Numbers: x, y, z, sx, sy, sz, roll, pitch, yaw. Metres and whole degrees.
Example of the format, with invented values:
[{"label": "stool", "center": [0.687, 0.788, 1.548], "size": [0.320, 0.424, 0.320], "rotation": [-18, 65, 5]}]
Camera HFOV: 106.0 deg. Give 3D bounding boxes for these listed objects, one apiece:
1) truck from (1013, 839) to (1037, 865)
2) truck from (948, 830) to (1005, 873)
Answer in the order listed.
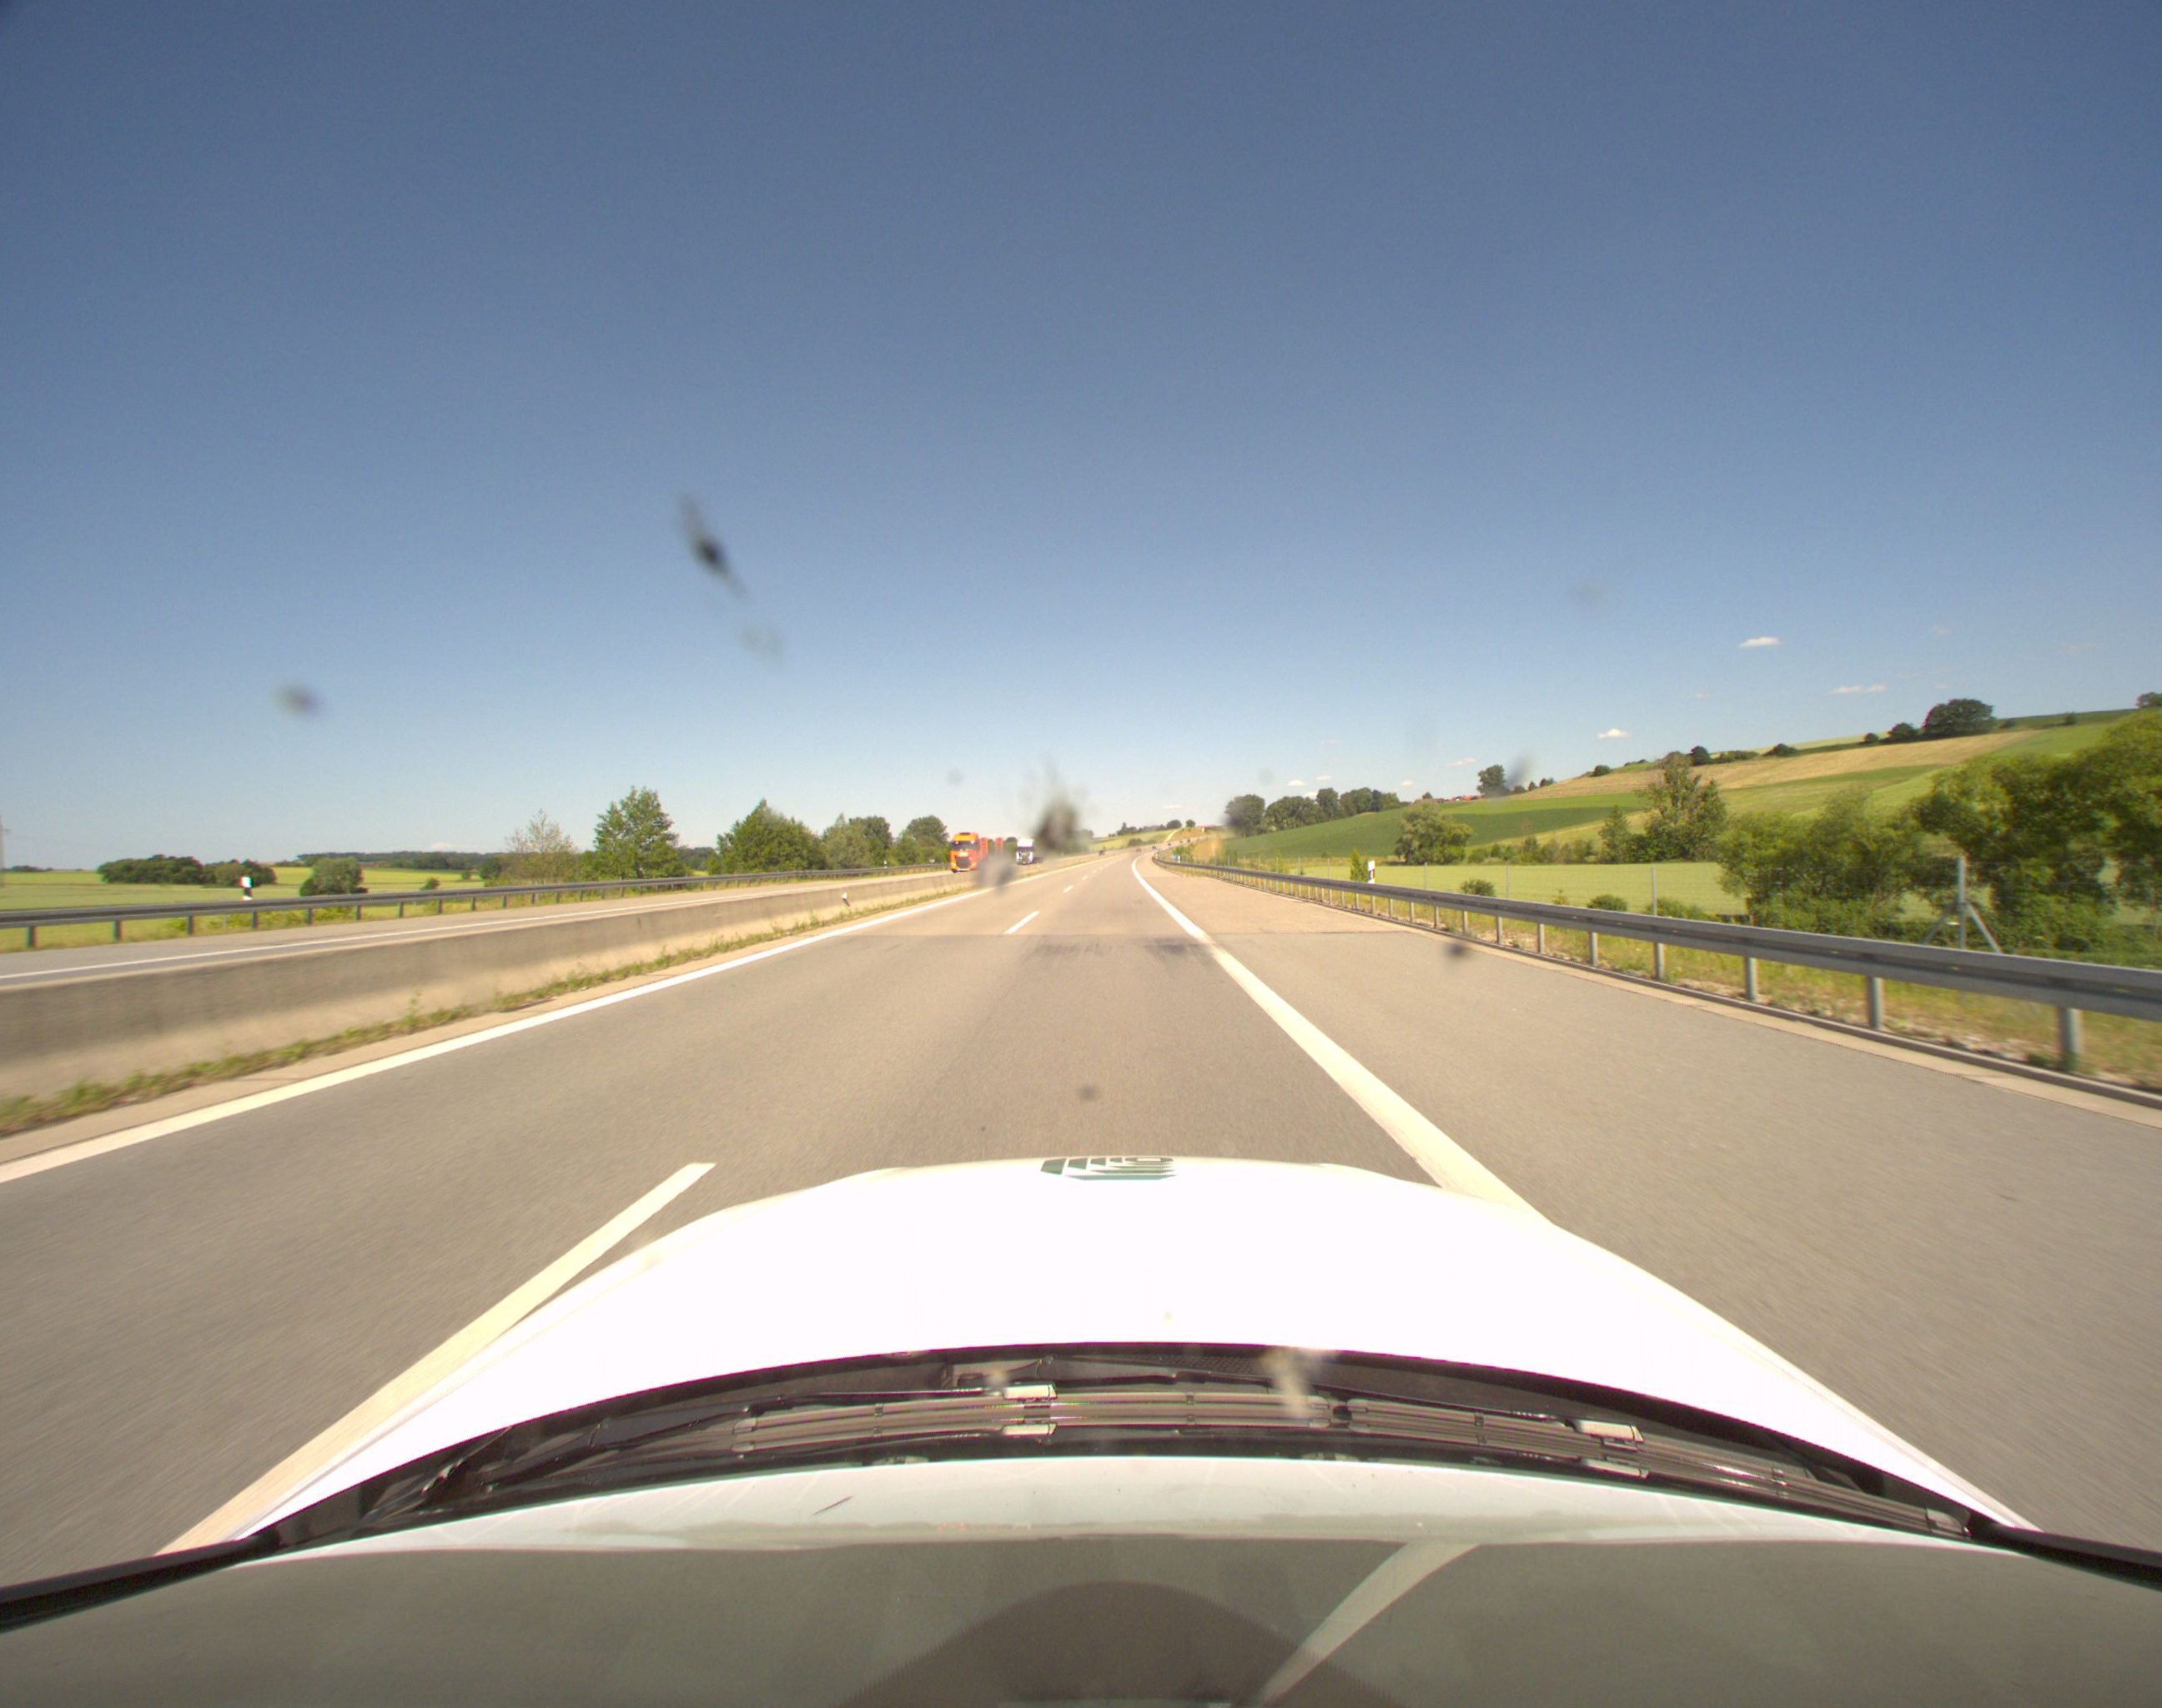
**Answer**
[{"label": "truck", "center": [-8.671, -0.282, 125.783], "size": [2.849, 3.873, 5.989], "rotation": [-2, 0, 3]}, {"label": "truck", "center": [-10.629, -0.254, 84.925], "size": [2.856, 4.015, 17.126], "rotation": [-1, 0, 3]}]
